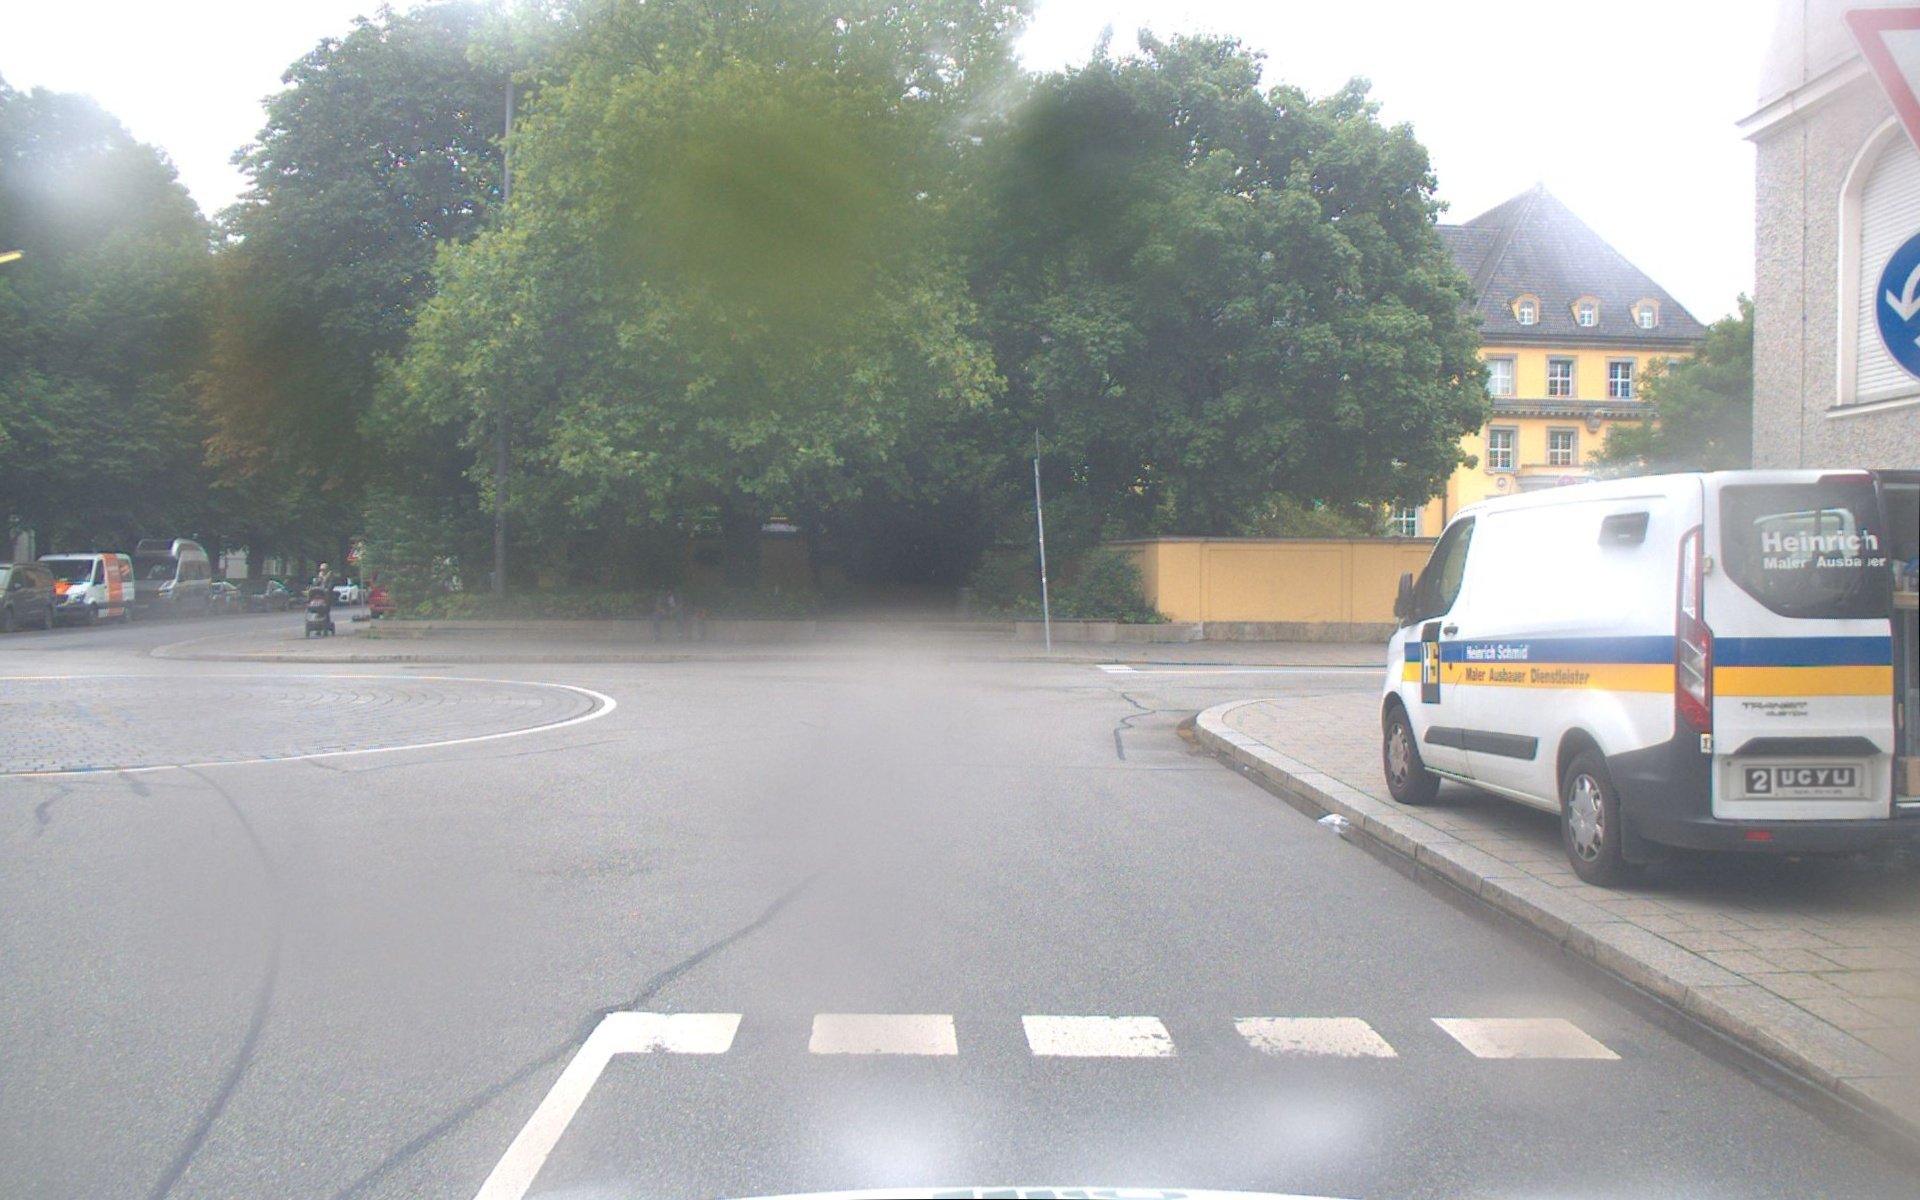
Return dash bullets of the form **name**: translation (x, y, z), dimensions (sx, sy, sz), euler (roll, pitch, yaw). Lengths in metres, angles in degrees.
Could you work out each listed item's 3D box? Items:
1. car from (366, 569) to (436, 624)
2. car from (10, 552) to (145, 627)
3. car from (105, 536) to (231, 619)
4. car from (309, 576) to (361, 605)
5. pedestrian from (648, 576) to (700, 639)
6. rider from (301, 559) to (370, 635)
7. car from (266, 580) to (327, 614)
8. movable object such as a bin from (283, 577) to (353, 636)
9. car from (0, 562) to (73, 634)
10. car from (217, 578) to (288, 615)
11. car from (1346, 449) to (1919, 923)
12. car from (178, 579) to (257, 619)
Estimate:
- **car**: translation (-20.483, -0.150, 60.765), dimensions (2.006, 1.956, 4.431), euler (0, 1, -13)
- **car**: translation (-28.142, -0.349, 52.943), dimensions (2.071, 2.290, 5.187), euler (0, 1, -7)
- **car**: translation (-29.657, -0.837, 62.185), dimensions (2.291, 2.973, 6.568), euler (0, 1, -7)
- **car**: translation (-34.848, -0.525, 92.287), dimensions (1.860, 1.598, 4.067), euler (0, 1, -8)
- **pedestrian**: translation (-5.516, 0.136, 31.961), dimensions (0.794, 1.209, 0.920), euler (0, 1, 3)
- **rider**: translation (-14.520, -0.081, 38.487), dimensions (1.059, 1.696, 1.140), euler (-2, 1, 5)
- **car**: translation (-32.603, -0.159, 81.403), dimensions (1.860, 1.598, 4.067), euler (0, 1, -8)
- **movable object such as a bin**: translation (-14.588, 0.136, 37.587), dimensions (1.055, 1.289, 1.087), euler (-2, 1, 5)
- **car**: translation (-26.699, -0.075, 45.881), dimensions (2.026, 1.891, 4.978), euler (0, 1, -7)
- **car**: translation (-31.165, -0.184, 72.966), dimensions (1.860, 1.565, 4.067), euler (0, 1, -8)
- **car**: translation (3.874, 0.311, 9.526), dimensions (1.878, 1.996, 4.924), euler (-1, 1, -3)
- **car**: translation (-30.518, -0.053, 68.100), dimensions (1.860, 1.598, 4.302), euler (0, 1, -8)
